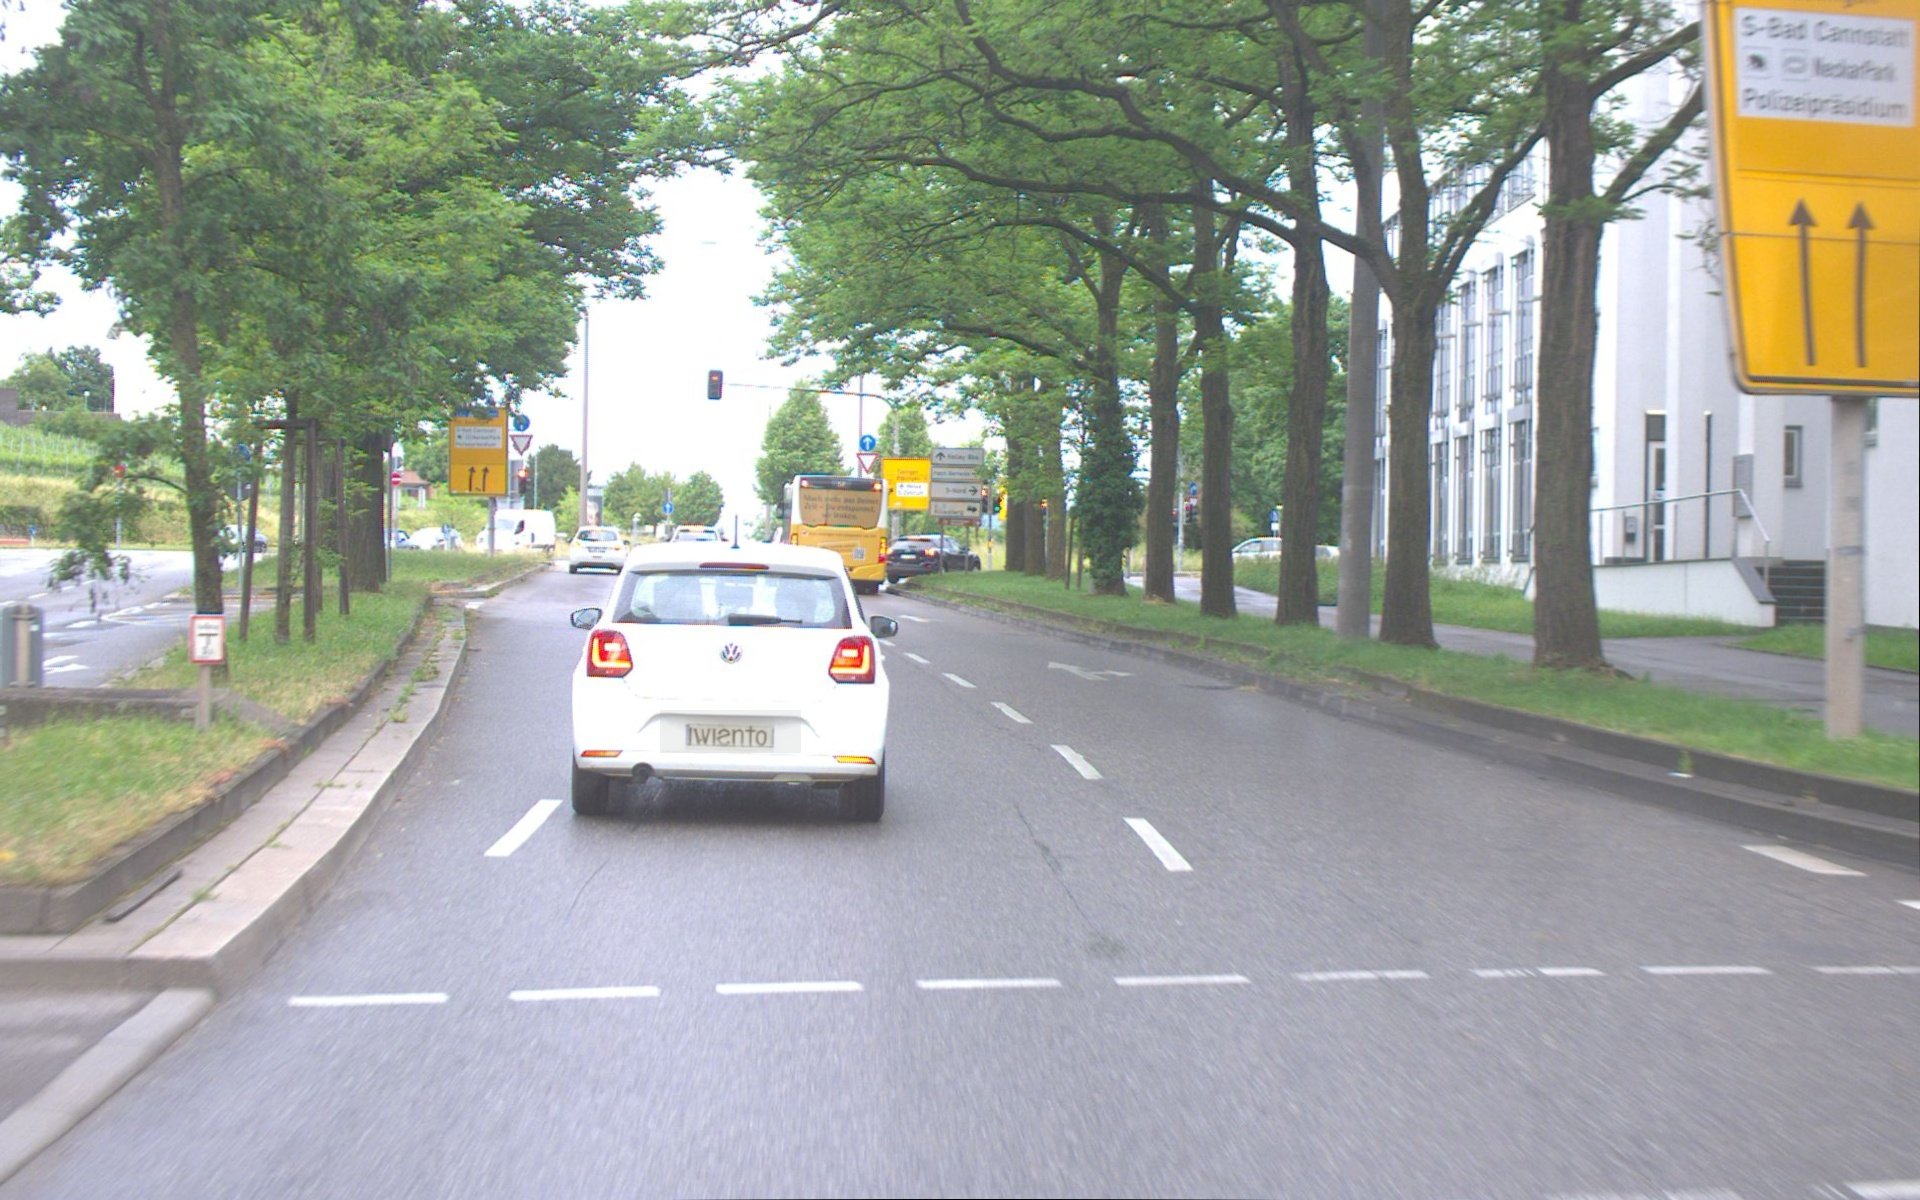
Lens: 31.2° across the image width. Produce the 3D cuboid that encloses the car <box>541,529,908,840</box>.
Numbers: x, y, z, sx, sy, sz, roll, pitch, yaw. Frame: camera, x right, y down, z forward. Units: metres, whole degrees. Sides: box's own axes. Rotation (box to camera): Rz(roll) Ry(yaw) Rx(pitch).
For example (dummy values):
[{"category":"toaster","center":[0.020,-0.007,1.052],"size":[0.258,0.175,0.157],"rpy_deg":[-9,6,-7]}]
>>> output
[{"category":"car","center":[-1.306,0.388,19.316],"size":[1.794,1.497,4.001],"rpy_deg":[2,1,-4]}]

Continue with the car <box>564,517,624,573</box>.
[{"category":"car","center":[-11.433,-1.708,107.620],"size":[1.794,1.735,4.001],"rpy_deg":[0,0,-5]}]

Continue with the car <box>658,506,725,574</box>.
[{"category":"car","center":[-8.282,-1.822,106.186],"size":[1.993,2.007,4.001],"rpy_deg":[1,0,-4]}]

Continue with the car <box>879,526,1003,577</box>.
[{"category":"car","center":[-0.564,-1.484,106.084],"size":[1.699,1.510,3.818],"rpy_deg":[1,0,41]}]

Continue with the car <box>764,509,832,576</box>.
[{"category":"car","center":[-5.075,-1.760,107.111],"size":[1.993,2.007,4.001],"rpy_deg":[1,0,-4]}]

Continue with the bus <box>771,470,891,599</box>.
[{"category":"bus","center":[-3.597,-1.798,93.762],"size":[2.828,3.255,10.002],"rpy_deg":[1,1,-4]}]

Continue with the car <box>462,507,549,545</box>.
[{"category":"car","center":[-24.489,-3.987,185.341],"size":[1.996,2.007,5.703],"rpy_deg":[1,1,23]}]

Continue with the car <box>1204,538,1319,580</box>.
[{"category":"car","center":[11.294,-1.536,128.745],"size":[3.990,1.531,1.998],"rpy_deg":[1,1,17]}]
